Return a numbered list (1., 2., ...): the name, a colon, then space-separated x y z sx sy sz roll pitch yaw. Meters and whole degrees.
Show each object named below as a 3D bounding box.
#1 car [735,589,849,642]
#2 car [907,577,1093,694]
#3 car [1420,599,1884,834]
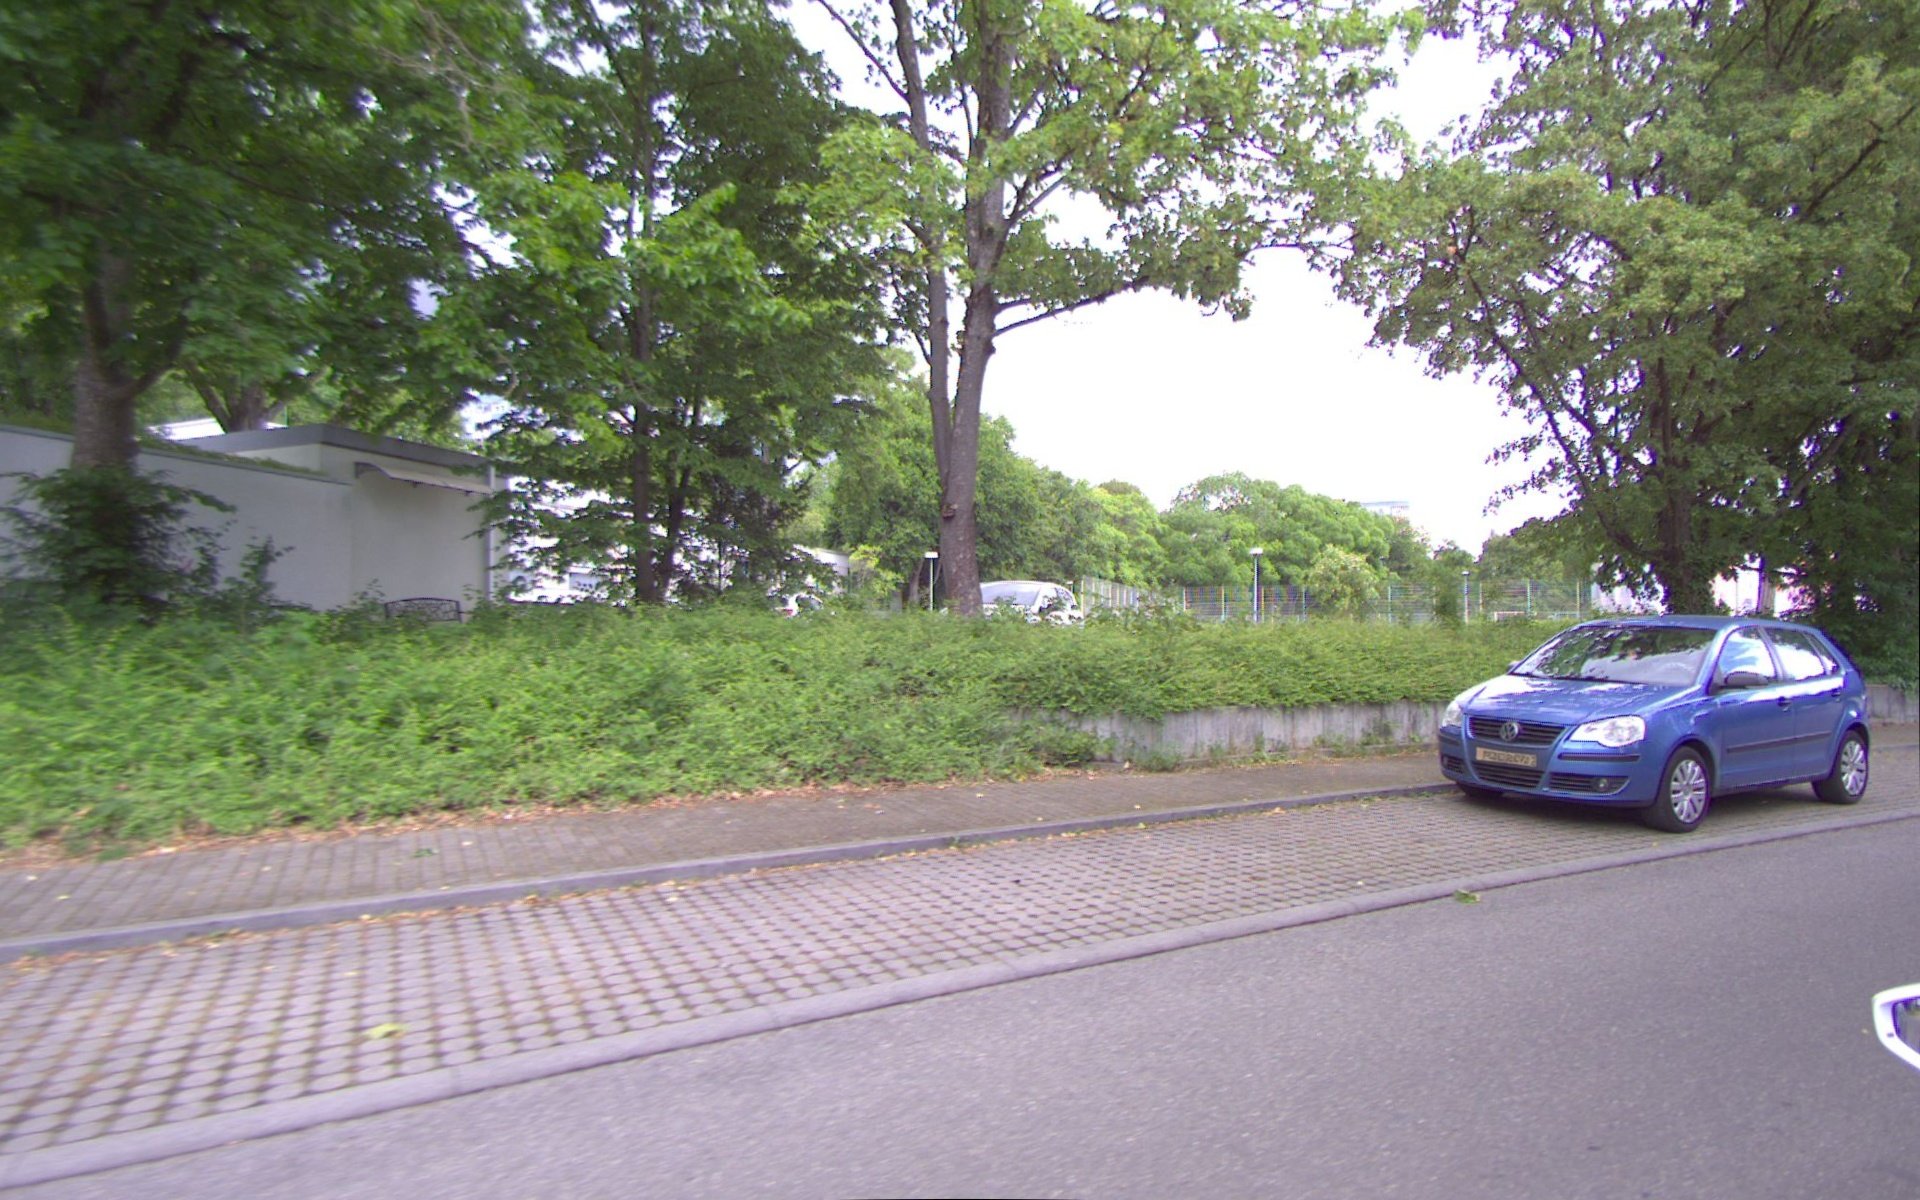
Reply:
1. car: -5.075 0.487 30.729 1.754 1.461 3.617 3 0 22
2. car: 0.772 0.521 16.201 1.713 1.643 3.871 -1 -1 23
3. car: 5.482 0.780 7.890 3.674 1.478 1.527 1 -2 -29
